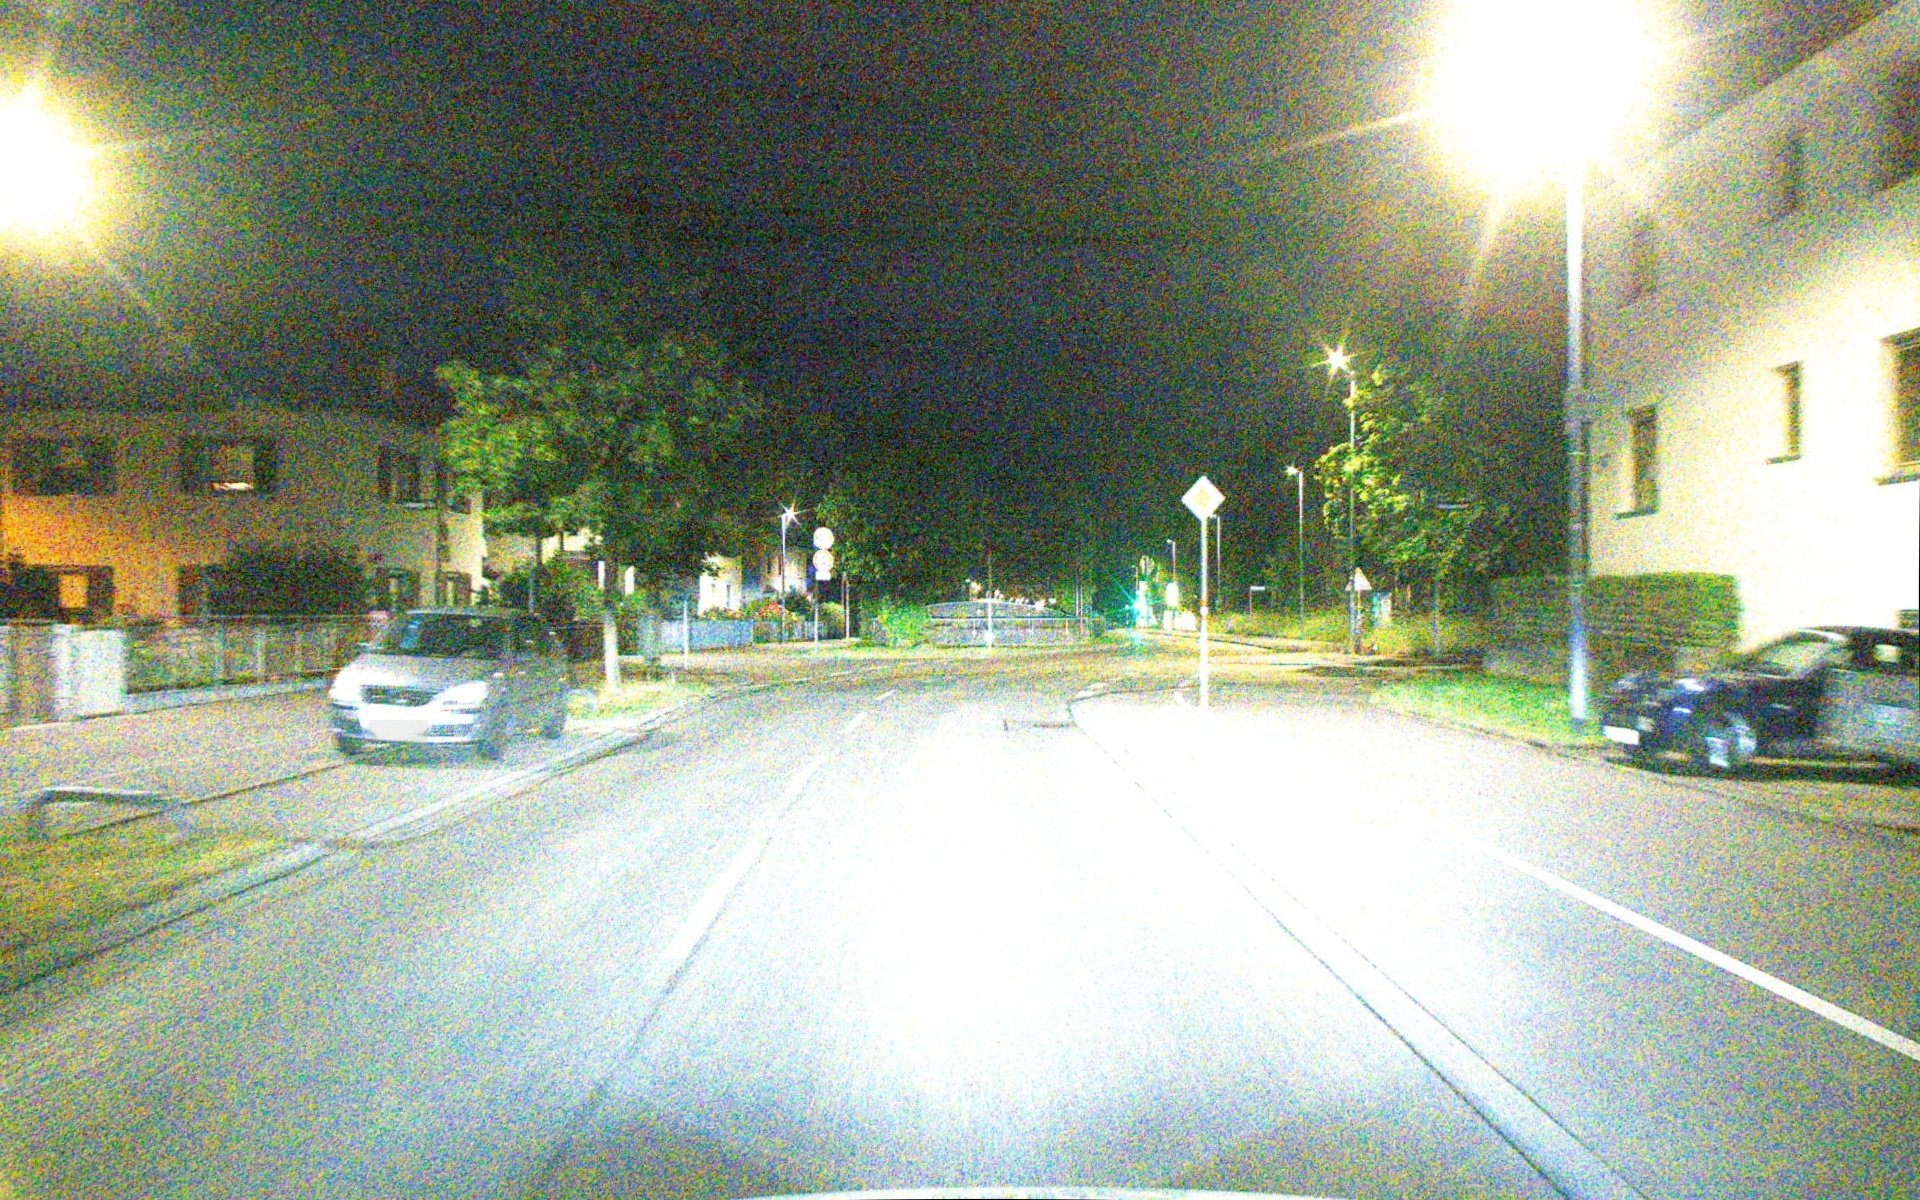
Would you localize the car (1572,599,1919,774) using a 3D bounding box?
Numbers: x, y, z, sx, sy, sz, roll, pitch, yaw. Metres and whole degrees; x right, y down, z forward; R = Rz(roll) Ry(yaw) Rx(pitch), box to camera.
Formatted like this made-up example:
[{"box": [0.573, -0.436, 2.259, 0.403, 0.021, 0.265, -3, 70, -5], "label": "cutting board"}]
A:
[{"box": [7.133, 0.713, 13.863, 3.324, 1.253, 1.724, 3, 0, -3], "label": "car"}]

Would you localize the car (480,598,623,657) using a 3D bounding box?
[{"box": [-11.832, 0.805, 47.980, 3.635, 1.655, 1.784, -1, -1, 18], "label": "car"}]

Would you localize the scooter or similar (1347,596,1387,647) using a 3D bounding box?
[{"box": [10.807, 0.559, 43.937, 0.599, 1.303, 1.689, 0, 0, -2], "label": "scooter or similar"}]

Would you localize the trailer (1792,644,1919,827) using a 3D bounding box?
[{"box": [7.276, 0.893, 10.118, 3.362, 1.020, 1.954, 3, 0, -1], "label": "trailer"}]

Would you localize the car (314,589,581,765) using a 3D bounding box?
[{"box": [-5.224, 0.711, 17.385, 1.638, 1.618, 3.986, 1, 0, -1], "label": "car"}]
